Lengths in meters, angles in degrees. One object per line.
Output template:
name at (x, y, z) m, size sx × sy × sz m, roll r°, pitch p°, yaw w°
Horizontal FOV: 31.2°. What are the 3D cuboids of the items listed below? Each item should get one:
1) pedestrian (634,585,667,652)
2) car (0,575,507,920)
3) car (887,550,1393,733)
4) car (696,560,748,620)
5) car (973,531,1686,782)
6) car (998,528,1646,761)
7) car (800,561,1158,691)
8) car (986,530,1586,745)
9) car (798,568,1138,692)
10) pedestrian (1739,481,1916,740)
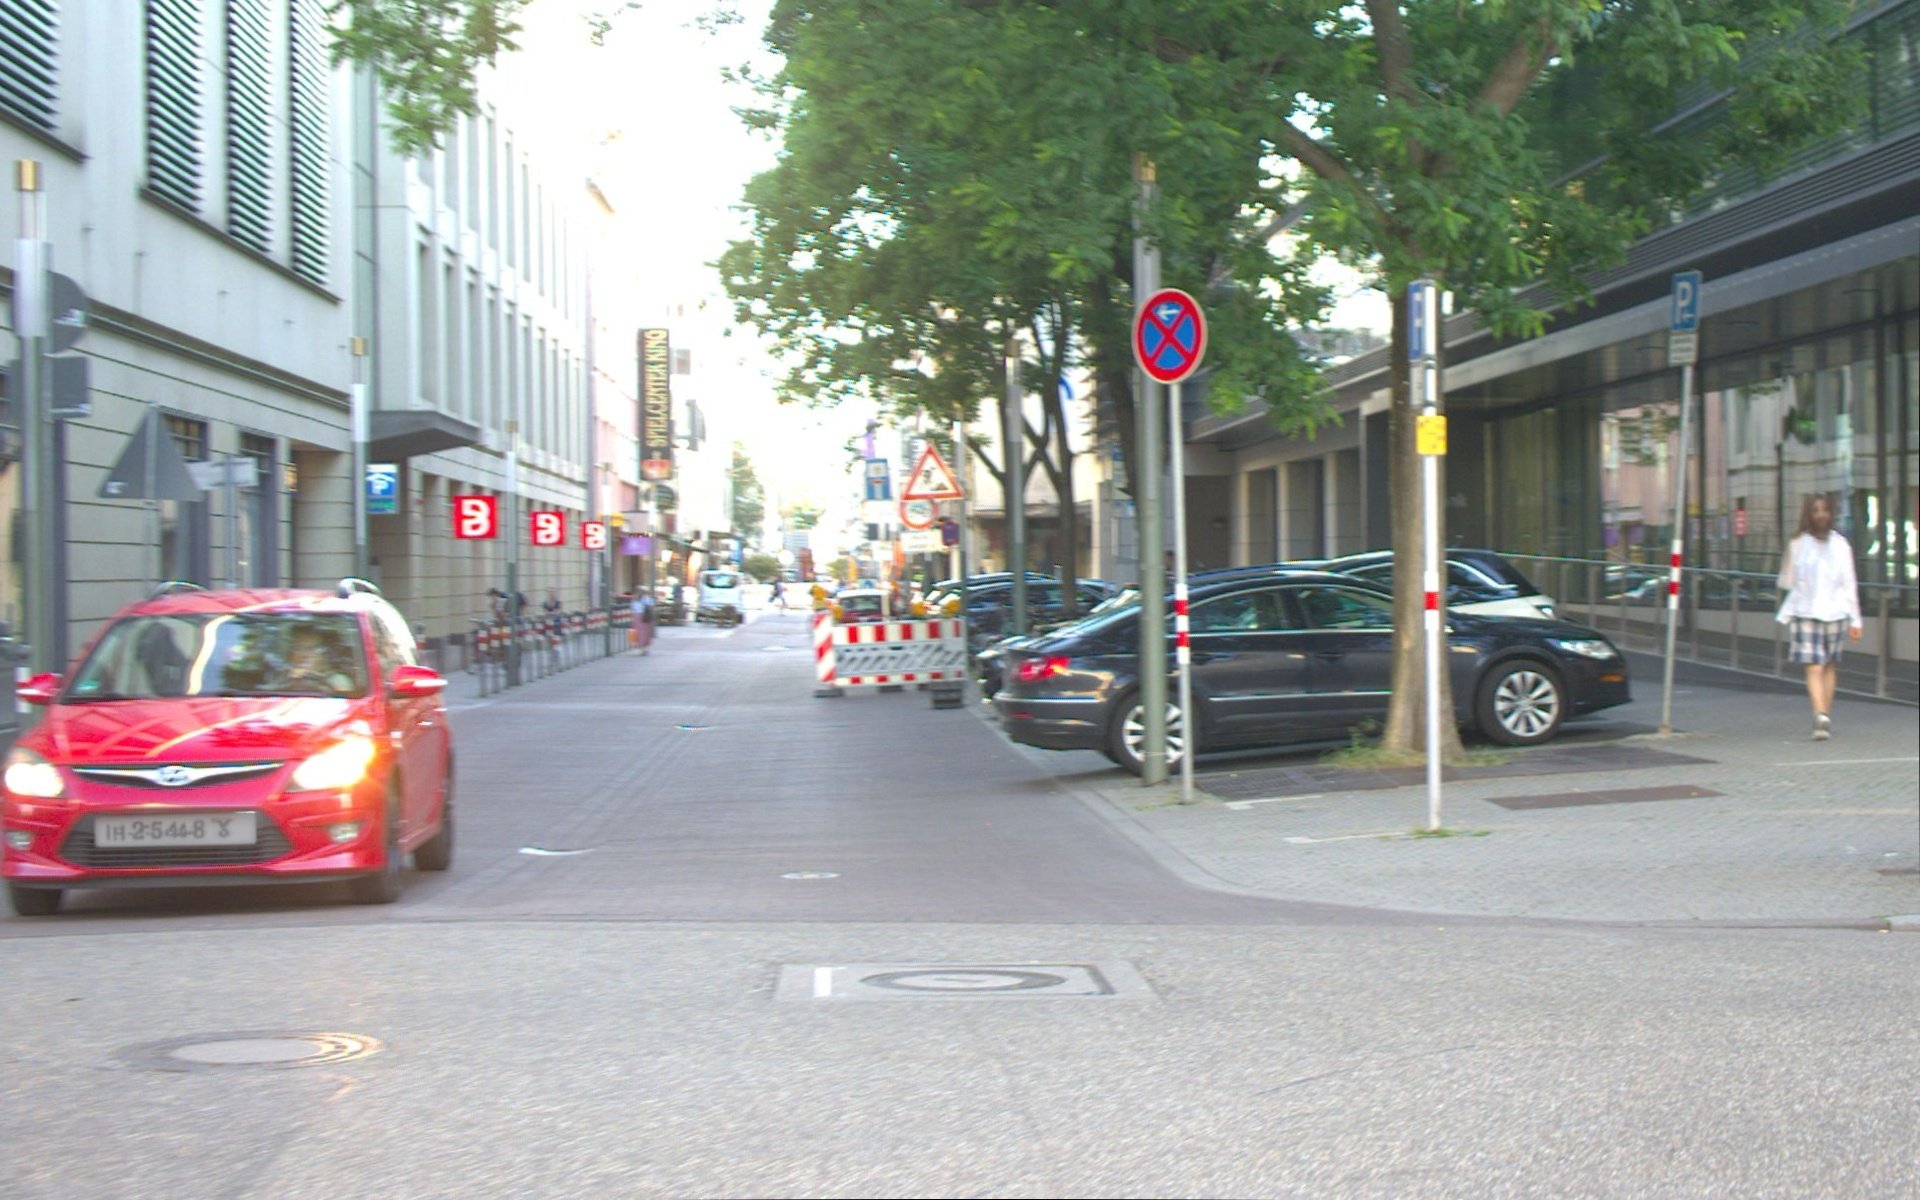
pedestrian at (-7.376, 0.440, 81.864) m, size 0.732 × 1.569 × 0.636 m, roll 0°, pitch 0°, yaw -1°
car at (-3.427, 0.677, 16.858) m, size 1.822 × 1.460 × 4.263 m, roll -1°, pitch -1°, yaw 0°
car at (1.831, 0.422, 36.120) m, size 5.004 × 1.494 × 2.000 m, roll -4°, pitch 0°, yaw -4°
car at (-9.598, -0.405, 138.286) m, size 1.993 × 2.321 × 5.021 m, roll 1°, pitch 0°, yaw -4°
car at (2.716, 0.409, 26.068) m, size 5.004 × 1.447 × 2.000 m, roll -4°, pitch 0°, yaw -4°
car at (2.942, 0.356, 28.664) m, size 5.004 × 1.494 × 2.000 m, roll -4°, pitch 0°, yaw -4°
car at (0.240, 0.372, 50.256) m, size 5.004 × 1.494 × 2.000 m, roll -4°, pitch 0°, yaw -4°
car at (2.856, 0.324, 30.874) m, size 5.004 × 1.494 × 2.000 m, roll -4°, pitch 0°, yaw -4°
car at (0.081, 0.446, 52.799) m, size 5.004 × 1.494 × 2.000 m, roll -4°, pitch 0°, yaw -4°
pedestrian at (5.961, 0.073, 23.669) m, size 0.905 × 1.700 × 0.834 m, roll -3°, pitch 0°, yaw 0°
